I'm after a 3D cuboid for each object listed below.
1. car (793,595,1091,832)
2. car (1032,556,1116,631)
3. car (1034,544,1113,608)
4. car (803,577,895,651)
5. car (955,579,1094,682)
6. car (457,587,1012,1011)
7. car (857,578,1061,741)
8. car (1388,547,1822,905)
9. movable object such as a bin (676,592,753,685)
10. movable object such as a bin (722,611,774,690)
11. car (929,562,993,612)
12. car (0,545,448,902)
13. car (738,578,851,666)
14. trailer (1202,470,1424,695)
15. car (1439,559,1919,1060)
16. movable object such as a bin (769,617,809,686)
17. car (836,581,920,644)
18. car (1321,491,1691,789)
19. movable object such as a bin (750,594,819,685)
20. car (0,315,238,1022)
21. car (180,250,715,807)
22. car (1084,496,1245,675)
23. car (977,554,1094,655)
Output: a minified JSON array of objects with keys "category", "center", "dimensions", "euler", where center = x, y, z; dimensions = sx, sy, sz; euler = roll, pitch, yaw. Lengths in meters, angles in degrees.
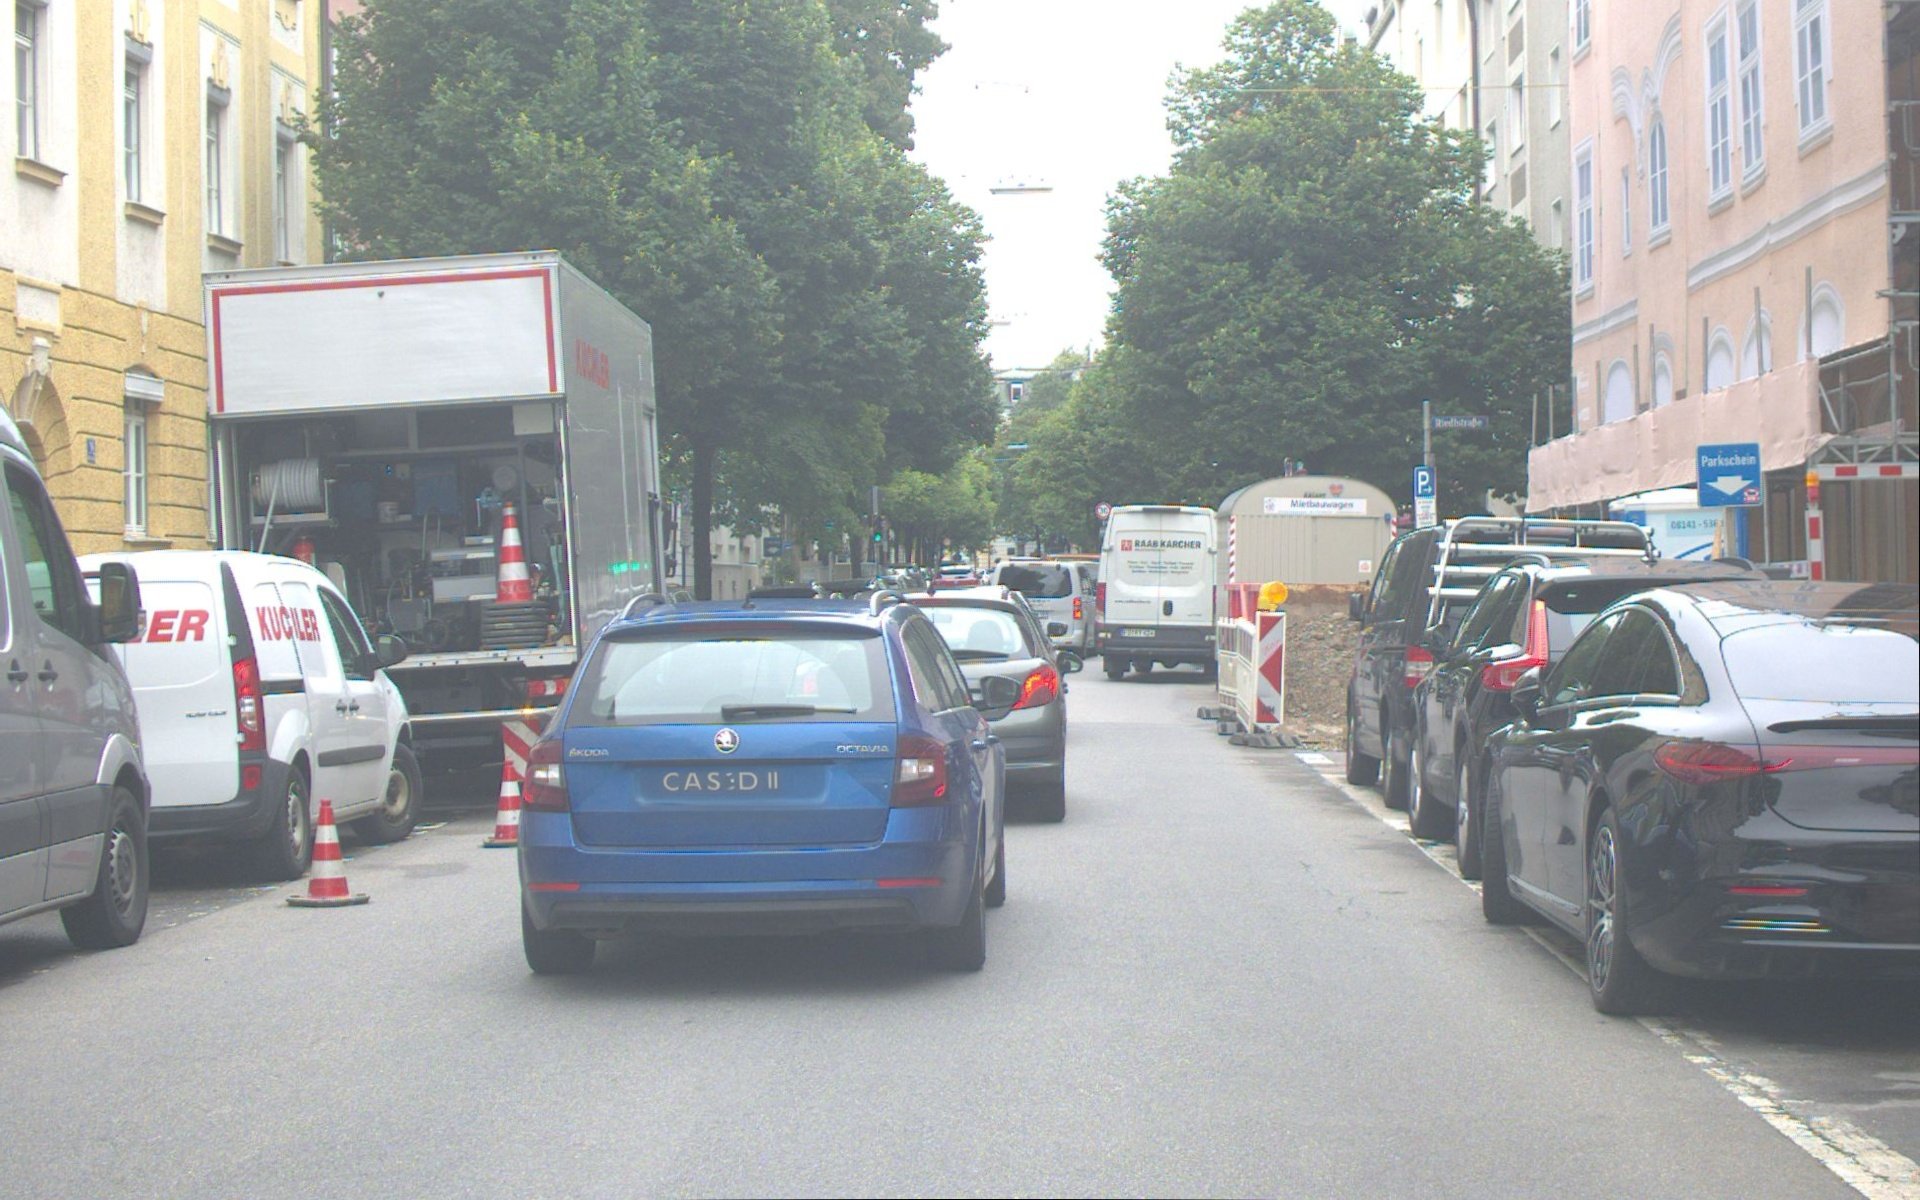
[{"category":"car","center":[-0.042,0.689,22.747],"dimensions":[1.741,1.417,3.663],"euler":[-1,0,3]},{"category":"car","center":[2.617,-0.167,78.902],"dimensions":[1.867,1.647,4.347],"euler":[1,1,2]},{"category":"car","center":[3.006,-0.648,90.635],"dimensions":[2.008,1.647,4.347],"euler":[1,1,2]},{"category":"car","center":[-2.284,0.264,71.685],"dimensions":[1.812,1.473,4.000],"euler":[0,1,0]},{"category":"car","center":[0.928,0.399,48.734],"dimensions":[1.867,1.343,4.347],"euler":[1,1,2]},{"category":"car","center":[-0.762,0.692,14.199],"dimensions":[1.789,1.455,4.314],"euler":[-1,0,3]},{"category":"car","center":[0.019,0.531,33.775],"dimensions":[1.867,1.449,4.347],"euler":[0,1,1]},{"category":"car","center":[3.402,0.612,18.882],"dimensions":[1.694,1.671,4.407],"euler":[2,0,3]},{"category":"movable object such as a bin","center":[-3.782,0.588,53.090],"dimensions":[1.081,1.372,1.084],"euler":[-3,0,-2]},{"category":"movable object such as a bin","center":[-3.219,0.767,52.240],"dimensions":[0.711,1.144,0.636],"euler":[-3,0,-1]},{"category":"car","center":[0.054,-0.461,117.083],"dimensions":[2.008,1.647,4.347],"euler":[1,1,2]},{"category":"car","center":[-4.293,0.634,19.848],"dimensions":[1.763,1.773,4.326],"euler":[-3,0,3]},{"category":"car","center":[-2.904,0.364,60.968],"dimensions":[1.812,1.473,4.000],"euler":[0,1,0]},{"category":"trailer","center":[4.713,-0.213,46.989],"dimensions":[2.502,2.830,6.901],"euler":[0,0,2]},{"category":"car","center":[3.196,0.627,13.453],"dimensions":[1.931,1.548,5.637],"euler":[0,0,1]},{"category":"movable object such as a bin","center":[-2.599,0.779,52.281],"dimensions":[0.546,1.017,0.636],"euler":[-3,0,-1]},{"category":"car","center":[-1.974,0.288,83.723],"dimensions":[1.812,1.473,4.000],"euler":[0,1,2]},{"category":"car","center":[3.805,0.347,24.842],"dimensions":[2.082,1.914,5.139],"euler":[0,-2,3]},{"category":"movable object such as a bin","center":[-2.764,0.614,54.239],"dimensions":[1.020,1.372,1.104],"euler":[-3,1,-2]},{"category":"car","center":[-4.541,0.303,12.428],"dimensions":[2.056,2.578,6.876],"euler":[-5,0,1]},{"category":"car","center":[-3.866,-0.501,28.180],"dimensions":[2.812,3.804,8.723],"euler":[-1,0,1]},{"category":"car","center":[3.278,-0.207,54.136],"dimensions":[2.113,2.654,5.498],"euler":[1,0,8]},{"category":"car","center":[1.485,0.054,66.132],"dimensions":[1.868,1.863,4.346],"euler":[1,1,6]}]
